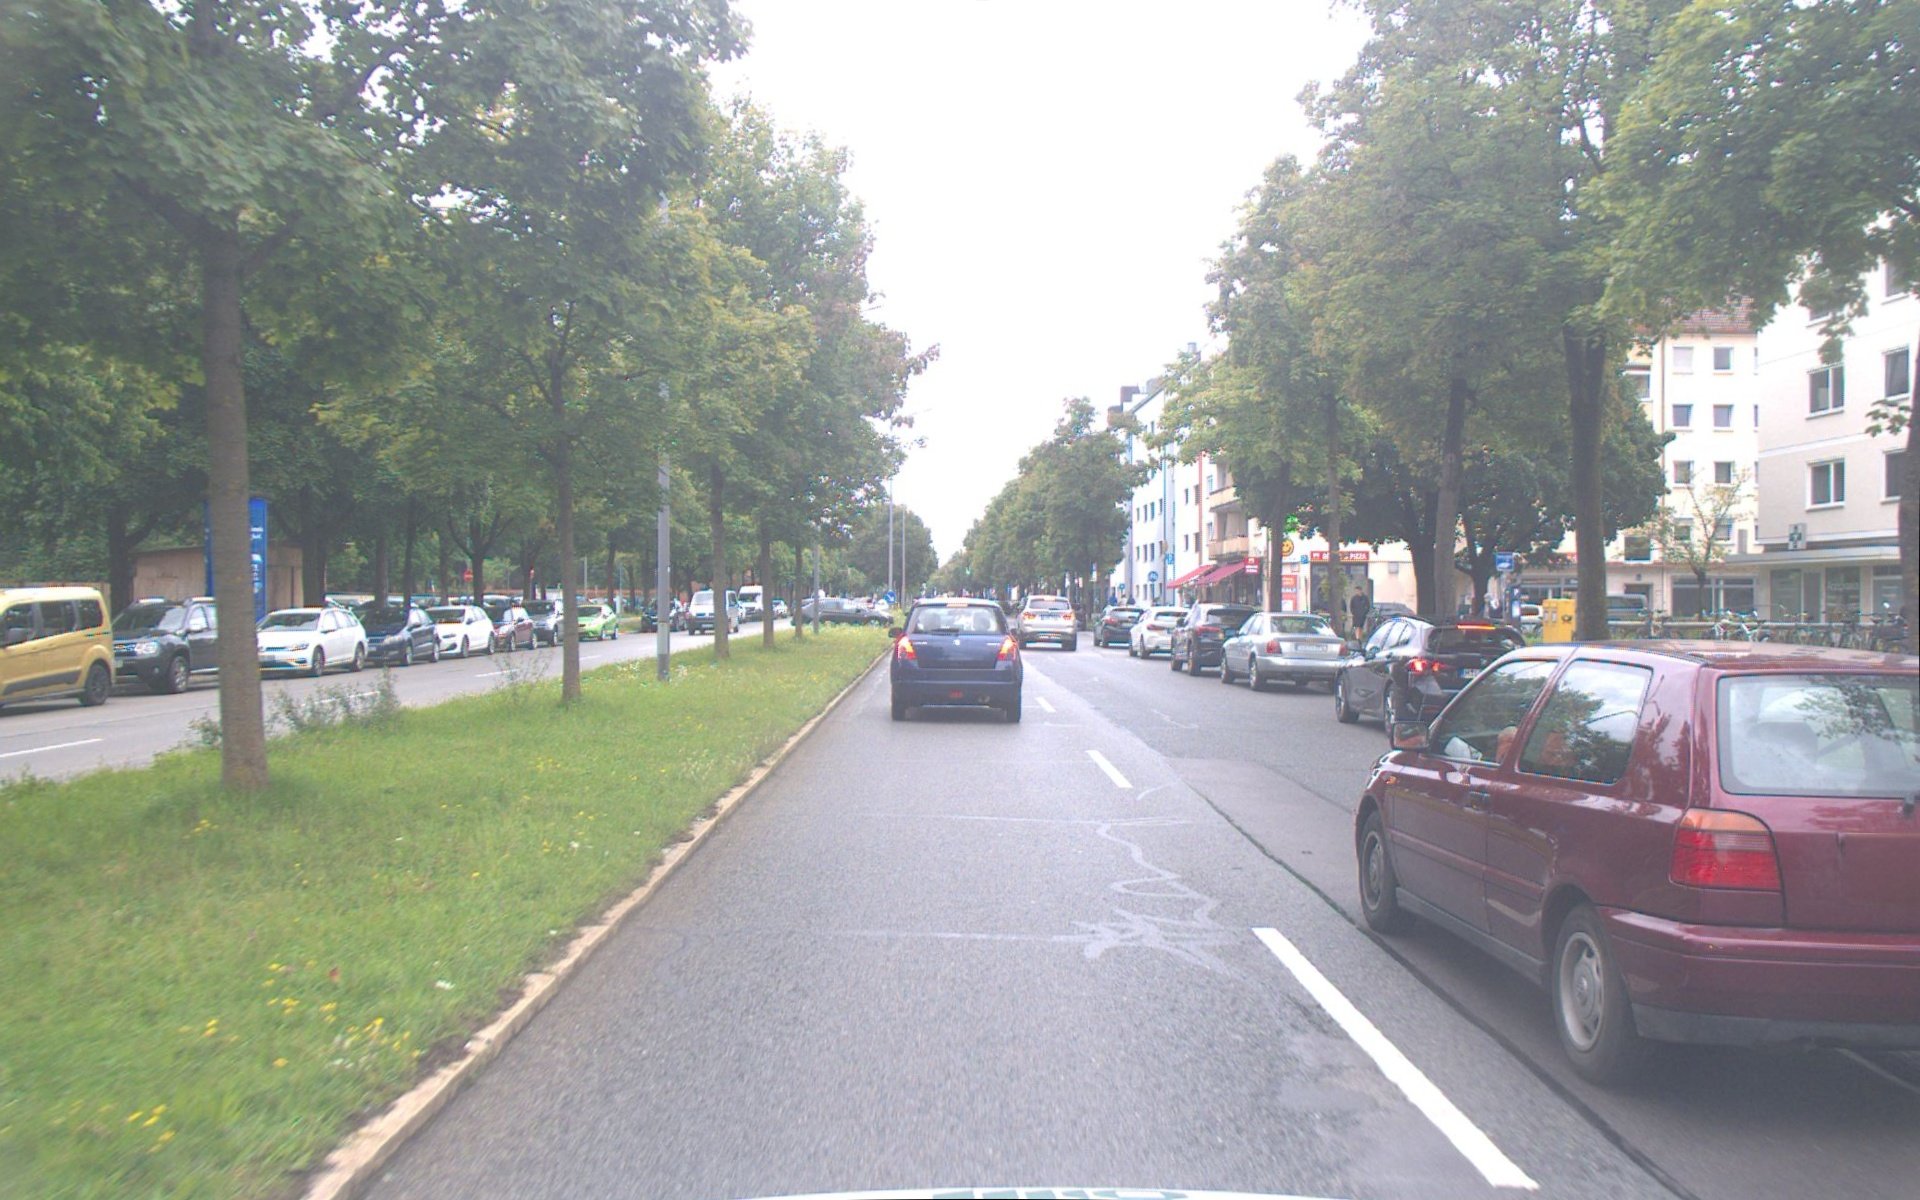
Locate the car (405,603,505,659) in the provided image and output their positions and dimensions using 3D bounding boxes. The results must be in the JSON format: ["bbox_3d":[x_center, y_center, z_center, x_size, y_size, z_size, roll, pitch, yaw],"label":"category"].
[{"bbox_3d":[-14.543,0.865,47.808,1.574,1.469,4.278,-2,0,-1],"label":"car"}]

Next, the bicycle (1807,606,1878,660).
[{"bbox_3d":[17.911,0.659,33.597,0.422,1.046,1.883,-1,0,0],"label":"bicycle"}]

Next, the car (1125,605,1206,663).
[{"bbox_3d":[5.800,0.925,47.058,1.648,1.491,4.136,2,0,-1],"label":"car"}]

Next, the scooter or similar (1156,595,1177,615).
[{"bbox_3d":[13.705,0.329,109.915,1.011,1.330,2.755,0,0,0],"label":"scooter or similar"}]

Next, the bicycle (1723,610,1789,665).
[{"bbox_3d":[16.149,0.749,33.589,0.422,1.046,1.883,-1,0,0],"label":"bicycle"}]

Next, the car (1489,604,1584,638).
[{"bbox_3d":[25.124,0.906,72.157,3.476,1.442,1.871,0,0,-1],"label":"car"}]

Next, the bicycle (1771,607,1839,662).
[{"bbox_3d":[17.160,0.688,33.622,0.422,1.046,1.883,-1,0,0],"label":"bicycle"}]

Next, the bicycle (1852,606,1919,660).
[{"bbox_3d":[18.871,0.653,33.654,0.422,1.046,1.883,-1,0,0],"label":"bicycle"}]

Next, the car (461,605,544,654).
[{"bbox_3d":[-14.621,0.916,53.042,1.558,1.421,3.631,-2,0,1],"label":"car"}]

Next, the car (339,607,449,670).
[{"bbox_3d":[-14.262,0.936,41.886,1.581,1.442,3.895,-2,0,-3],"label":"car"}]

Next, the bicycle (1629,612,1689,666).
[{"bbox_3d":[14.316,0.781,33.897,0.422,1.046,1.883,-1,0,0],"label":"bicycle"}]

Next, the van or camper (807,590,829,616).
[{"bbox_3d":[-19.121,0.397,222.462,2.509,3.353,6.935,1,0,-1],"label":"van or camper"}]

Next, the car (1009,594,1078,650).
[{"bbox_3d":[2.627,0.664,52.977,1.828,1.690,4.406,1,0,-2],"label":"car"}]

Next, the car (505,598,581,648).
[{"bbox_3d":[-14.727,0.783,58.652,1.656,1.614,4.369,-2,0,-1],"label":"car"}]

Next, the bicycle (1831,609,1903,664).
[{"bbox_3d":[18.389,0.723,33.562,0.422,1.046,1.883,-1,0,0],"label":"bicycle"}]

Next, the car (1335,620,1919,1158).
[{"bbox_3d":[2.802,0.828,6.499,1.648,1.408,3.917,1,0,-2],"label":"car"}]

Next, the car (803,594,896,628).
[{"bbox_3d":[-4.913,0.476,73.350,4.043,1.494,1.837,0,0,-7],"label":"car"}]

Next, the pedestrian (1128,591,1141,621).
[{"bbox_3d":[12.035,0.432,113.846,0.778,2.049,1.006,0,0,0],"label":"pedestrian"}]

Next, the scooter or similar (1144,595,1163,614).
[{"bbox_3d":[13.418,0.318,114.943,1.011,1.330,2.755,0,0,0],"label":"scooter or similar"}]

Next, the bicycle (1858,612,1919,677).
[{"bbox_3d":[16.114,0.737,27.796,1.840,1.046,0.432,-1,0,-4],"label":"bicycle"}]

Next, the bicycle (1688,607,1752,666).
[{"bbox_3d":[15.461,0.726,33.674,0.422,1.120,1.883,-1,0,0],"label":"bicycle"}]

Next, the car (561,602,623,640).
[{"bbox_3d":[-14.835,0.818,66.828,1.515,1.434,3.880,-2,0,2],"label":"car"}]

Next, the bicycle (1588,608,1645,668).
[{"bbox_3d":[13.397,0.756,33.784,0.422,1.153,1.884,-1,1,0],"label":"bicycle"}]

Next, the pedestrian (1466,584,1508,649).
[{"bbox_3d":[14.131,0.438,44.382,0.821,1.710,0.834,-1,0,-2],"label":"pedestrian"}]

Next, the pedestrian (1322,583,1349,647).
[{"bbox_3d":[11.357,0.452,50.089,0.576,1.923,0.901,-1,0,-2],"label":"pedestrian"}]

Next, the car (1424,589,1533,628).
[{"bbox_3d":[23.424,0.381,74.768,4.306,1.690,1.870,-1,0,-4],"label":"car"}]

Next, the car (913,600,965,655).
[{"bbox_3d":[-0.630,0.768,47.641,1.415,1.509,3.105,0,0,-2],"label":"car"}]

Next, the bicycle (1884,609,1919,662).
[{"bbox_3d":[19.576,0.718,33.725,0.422,1.046,1.883,-1,0,0],"label":"bicycle"}]

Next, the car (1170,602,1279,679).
[{"bbox_3d":[5.834,0.859,36.949,1.682,1.560,4.275,1,0,-1],"label":"car"}]

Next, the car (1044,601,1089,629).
[{"bbox_3d":[5.644,0.769,88.177,1.829,1.442,4.221,0,0,-4],"label":"car"}]

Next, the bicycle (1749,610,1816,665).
[{"bbox_3d":[16.687,0.741,33.584,0.422,1.046,1.883,-1,0,0],"label":"bicycle"}]

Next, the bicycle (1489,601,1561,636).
[{"bbox_3d":[15.859,0.512,46.431,1.839,0.956,0.558,1,0,1],"label":"bicycle"}]

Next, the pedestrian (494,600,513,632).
[{"bbox_3d":[-22.378,0.795,81.069,0.712,1.561,0.721,1,0,0],"label":"pedestrian"}]

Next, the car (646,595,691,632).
[{"bbox_3d":[-14.834,0.679,84.248,1.682,1.771,3.878,1,0,-1],"label":"car"}]

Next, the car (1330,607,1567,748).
[{"bbox_3d":[5.938,0.877,20.615,1.714,1.491,4.176,1,0,0],"label":"car"}]

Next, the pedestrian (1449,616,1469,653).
[{"bbox_3d":[13.453,0.929,44.594,0.399,0.966,0.435,-1,0,-2],"label":"pedestrian"}]

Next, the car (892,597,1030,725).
[{"bbox_3d":[-0.043,0.730,21.939,1.648,1.528,3.917,0,0,-2],"label":"car"}]

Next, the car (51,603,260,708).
[{"bbox_3d":[-14.357,0.932,29.797,1.701,1.675,4.255,-2,0,-1],"label":"car"}]

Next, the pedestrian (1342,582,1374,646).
[{"bbox_3d":[12.049,0.423,50.094,0.714,1.923,0.919,-1,0,-2],"label":"pedestrian"}]

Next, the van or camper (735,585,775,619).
[{"bbox_3d":[-15.525,0.148,125.774,2.073,2.525,7.448,1,0,0],"label":"van or camper"}]

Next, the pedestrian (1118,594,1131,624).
[{"bbox_3d":[11.245,0.582,113.304,0.778,2.049,1.006,0,0,0],"label":"pedestrian"}]

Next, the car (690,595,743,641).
[{"bbox_3d":[-11.135,0.807,75.840,1.763,1.967,4.992,-1,0,-1],"label":"car"}]

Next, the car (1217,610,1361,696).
[{"bbox_3d":[6.071,0.939,30.995,1.603,1.410,4.241,1,0,-4],"label":"car"}]

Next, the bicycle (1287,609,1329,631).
[{"bbox_3d":[16.139,0.925,76.673,1.810,0.974,0.557,1,0,-2],"label":"bicycle"}]

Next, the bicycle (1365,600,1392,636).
[{"bbox_3d":[13.335,0.577,52.721,0.373,1.122,1.883,1,0,0],"label":"bicycle"}]

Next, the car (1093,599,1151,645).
[{"bbox_3d":[5.624,0.736,57.664,1.584,1.491,3.673,2,0,-1],"label":"car"}]

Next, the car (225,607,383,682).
[{"bbox_3d":[-14.419,0.927,36.612,1.727,1.475,4.532,-2,0,-1],"label":"car"}]

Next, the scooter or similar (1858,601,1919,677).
[{"bbox_3d":[15.451,0.624,26.966,0.355,1.221,1.368,-1,0,-42],"label":"scooter or similar"}]

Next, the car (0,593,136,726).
[{"bbox_3d":[-14.073,0.840,23.973,1.777,1.814,4.817,-2,0,0],"label":"car"}]

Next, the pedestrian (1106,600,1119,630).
[{"bbox_3d":[10.440,0.995,113.362,0.778,2.049,1.006,0,0,0],"label":"pedestrian"}]

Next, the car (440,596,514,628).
[{"bbox_3d":[-28.072,0.701,96.233,3.843,1.748,1.670,1,0,-6],"label":"car"}]

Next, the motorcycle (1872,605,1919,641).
[{"bbox_3d":[27.327,0.660,48.062,0.591,1.041,1.906,1,0,0],"label":"motorcycle"}]
